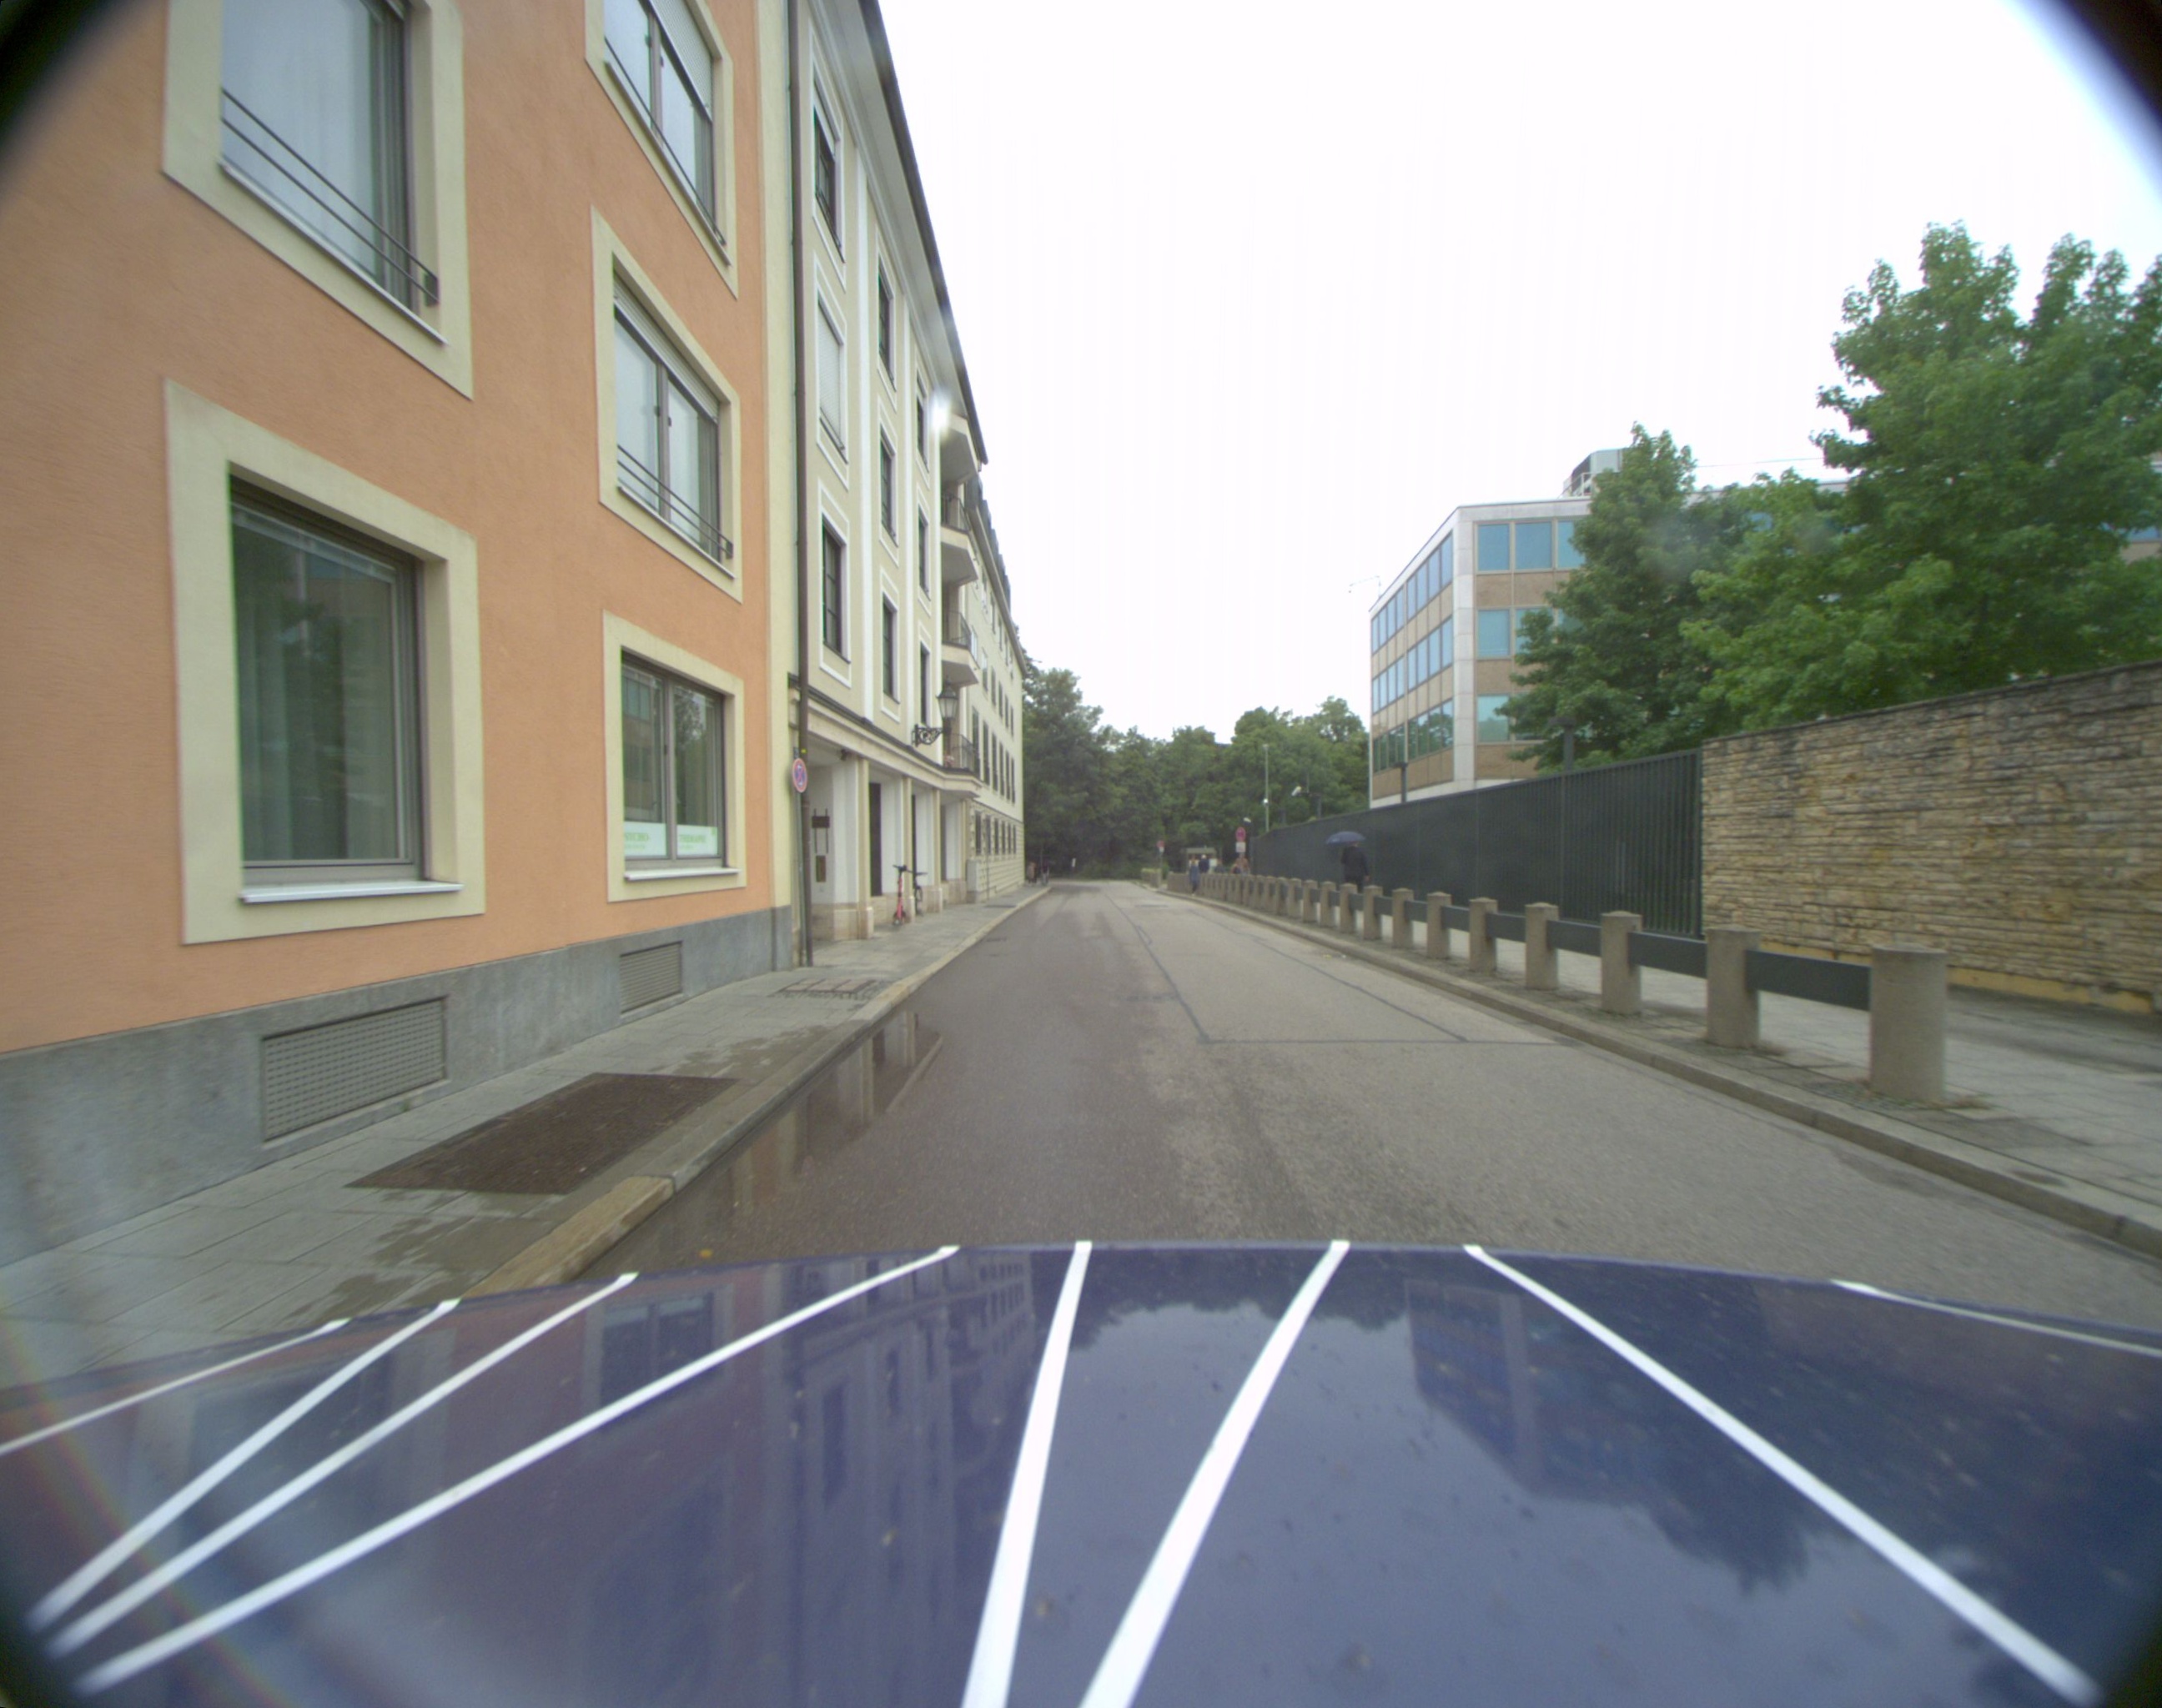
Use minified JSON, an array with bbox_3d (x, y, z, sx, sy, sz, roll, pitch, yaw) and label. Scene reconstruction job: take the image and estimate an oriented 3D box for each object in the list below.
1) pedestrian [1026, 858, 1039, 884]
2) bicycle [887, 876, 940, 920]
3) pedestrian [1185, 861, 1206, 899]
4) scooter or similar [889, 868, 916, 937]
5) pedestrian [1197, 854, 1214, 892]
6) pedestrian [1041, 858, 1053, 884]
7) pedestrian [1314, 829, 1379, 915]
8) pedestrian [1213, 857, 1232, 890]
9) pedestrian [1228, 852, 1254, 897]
[{"bbox_3d":[-3.207,1.103,50.265,0.753,1.671,0.656,-1,0,-1],"label":"pedestrian"},{"bbox_3d":[-4.041,1.040,18.497,0.464,0.988,2.080,0,-1,10],"label":"bicycle"},{"bbox_3d":[4.567,1.045,30.417,0.640,1.458,1.079,-3,0,1],"label":"pedestrian"},{"bbox_3d":[-3.538,0.935,15.049,0.466,1.251,1.275,1,1,-13],"label":"scooter or similar"},{"bbox_3d":[5.776,0.875,35.181,0.625,1.758,0.766,-1,0,0],"label":"pedestrian"},{"bbox_3d":[-2.268,1.103,50.790,0.753,1.725,0.853,-1,0,-1],"label":"pedestrian"},{"bbox_3d":[6.630,0.446,19.041,1.226,2.091,1.117,-1,0,2],"label":"pedestrian"},{"bbox_3d":[6.757,0.921,36.338,0.778,1.531,0.933,-3,0,8],"label":"pedestrian"},{"bbox_3d":[6.286,0.811,29.967,0.826,1.713,0.906,-3,0,5],"label":"pedestrian"}]
